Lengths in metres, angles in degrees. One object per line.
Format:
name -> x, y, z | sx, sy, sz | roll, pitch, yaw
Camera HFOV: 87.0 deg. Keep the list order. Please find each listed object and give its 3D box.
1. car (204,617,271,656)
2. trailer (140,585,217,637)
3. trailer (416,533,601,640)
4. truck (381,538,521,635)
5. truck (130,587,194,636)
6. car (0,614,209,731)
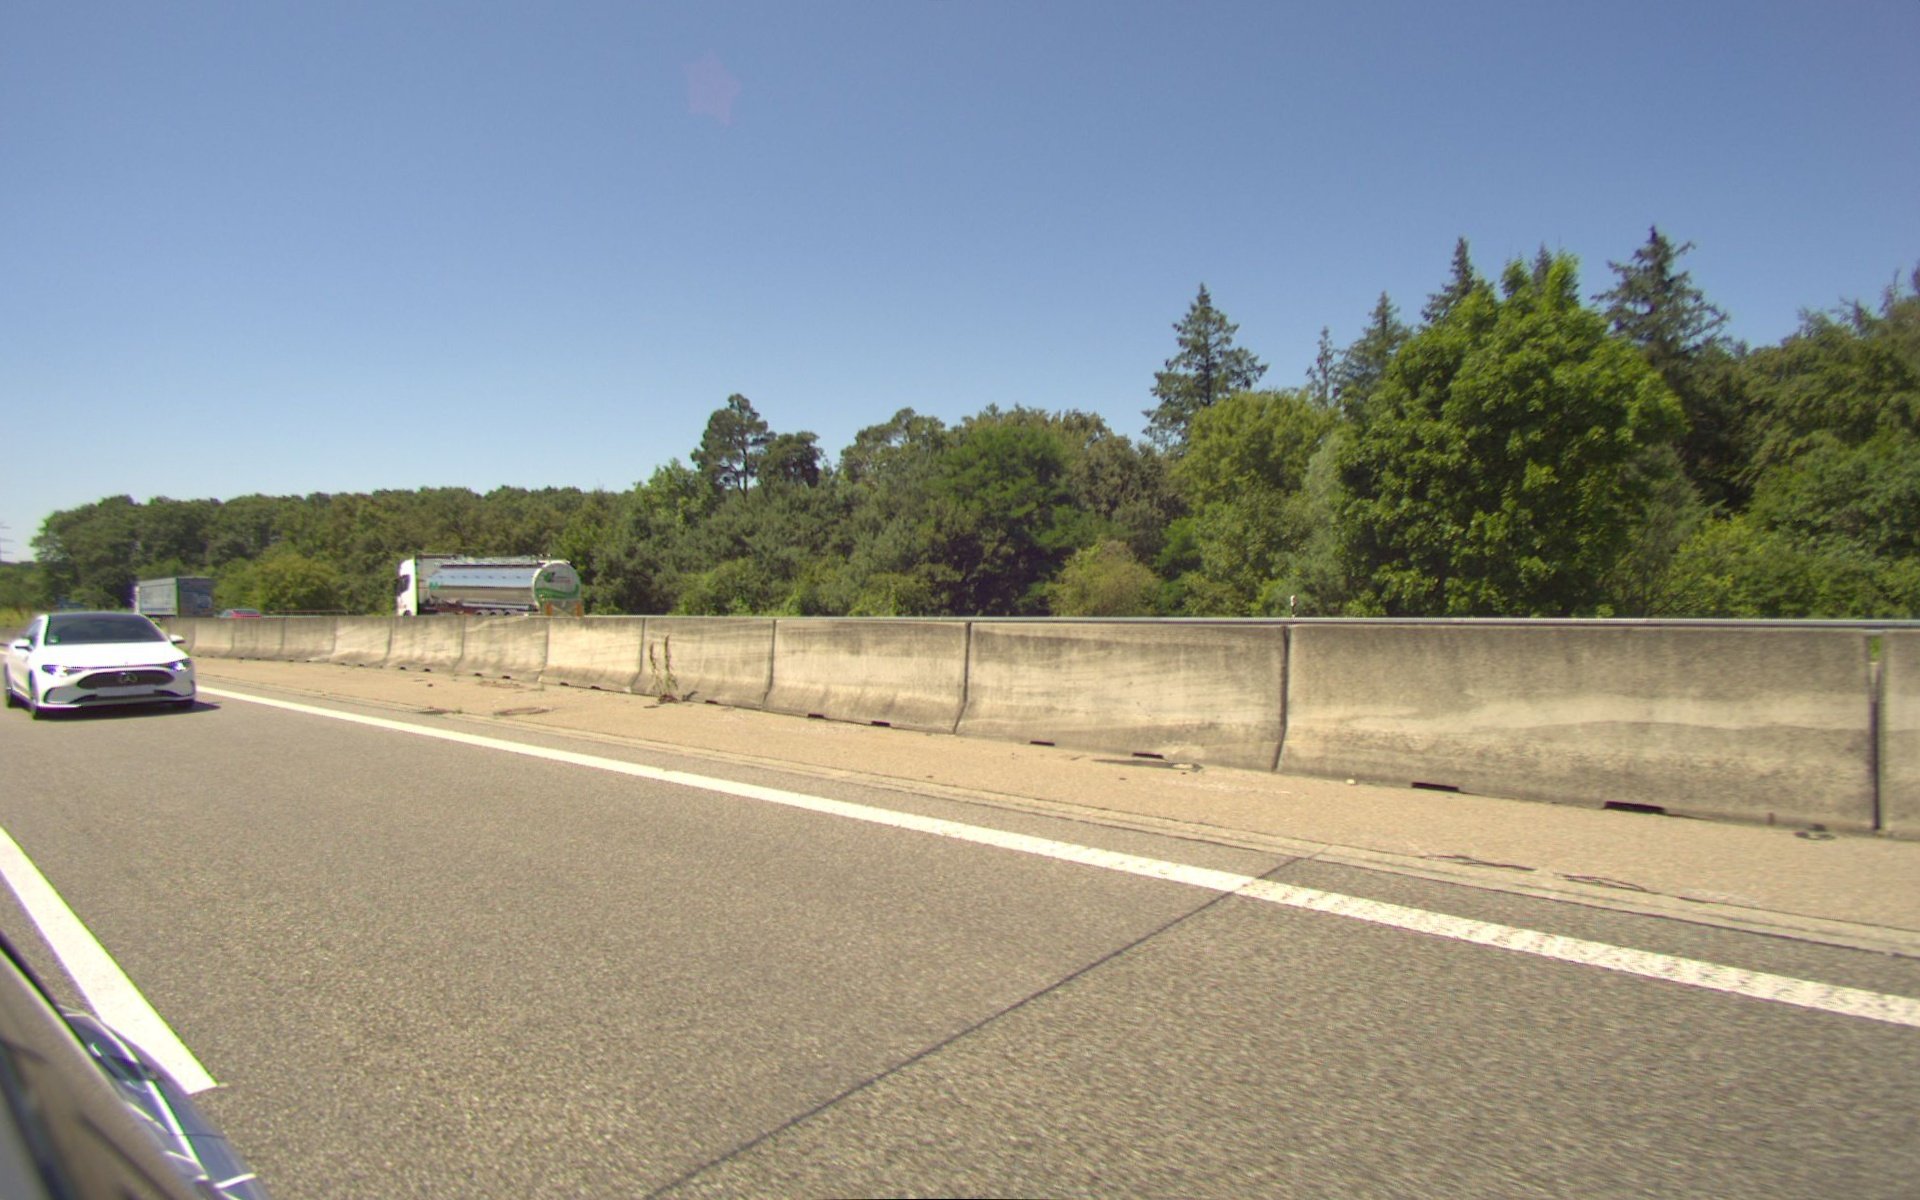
car -> -40.563, 2.013, 56.780 | 4.572, 2.029, 1.973 | -1, 0, 40
trailer -> -66.212, 0.982, 85.601 | 11.768, 4.107, 2.953 | -2, 0, 41
trailer -> -19.567, -0.494, 43.412 | 10.422, 4.077, 2.780 | -1, 3, 40
truck -> -23.664, -0.558, 46.853 | 7.724, 4.077, 2.779 | -1, 3, 40
truck -> -70.812, 1.076, 89.712 | 8.189, 4.107, 2.953 | -2, 0, 41
car -> -13.066, 0.988, 15.227 | 5.105, 1.459, 1.749 | -2, -1, 41
